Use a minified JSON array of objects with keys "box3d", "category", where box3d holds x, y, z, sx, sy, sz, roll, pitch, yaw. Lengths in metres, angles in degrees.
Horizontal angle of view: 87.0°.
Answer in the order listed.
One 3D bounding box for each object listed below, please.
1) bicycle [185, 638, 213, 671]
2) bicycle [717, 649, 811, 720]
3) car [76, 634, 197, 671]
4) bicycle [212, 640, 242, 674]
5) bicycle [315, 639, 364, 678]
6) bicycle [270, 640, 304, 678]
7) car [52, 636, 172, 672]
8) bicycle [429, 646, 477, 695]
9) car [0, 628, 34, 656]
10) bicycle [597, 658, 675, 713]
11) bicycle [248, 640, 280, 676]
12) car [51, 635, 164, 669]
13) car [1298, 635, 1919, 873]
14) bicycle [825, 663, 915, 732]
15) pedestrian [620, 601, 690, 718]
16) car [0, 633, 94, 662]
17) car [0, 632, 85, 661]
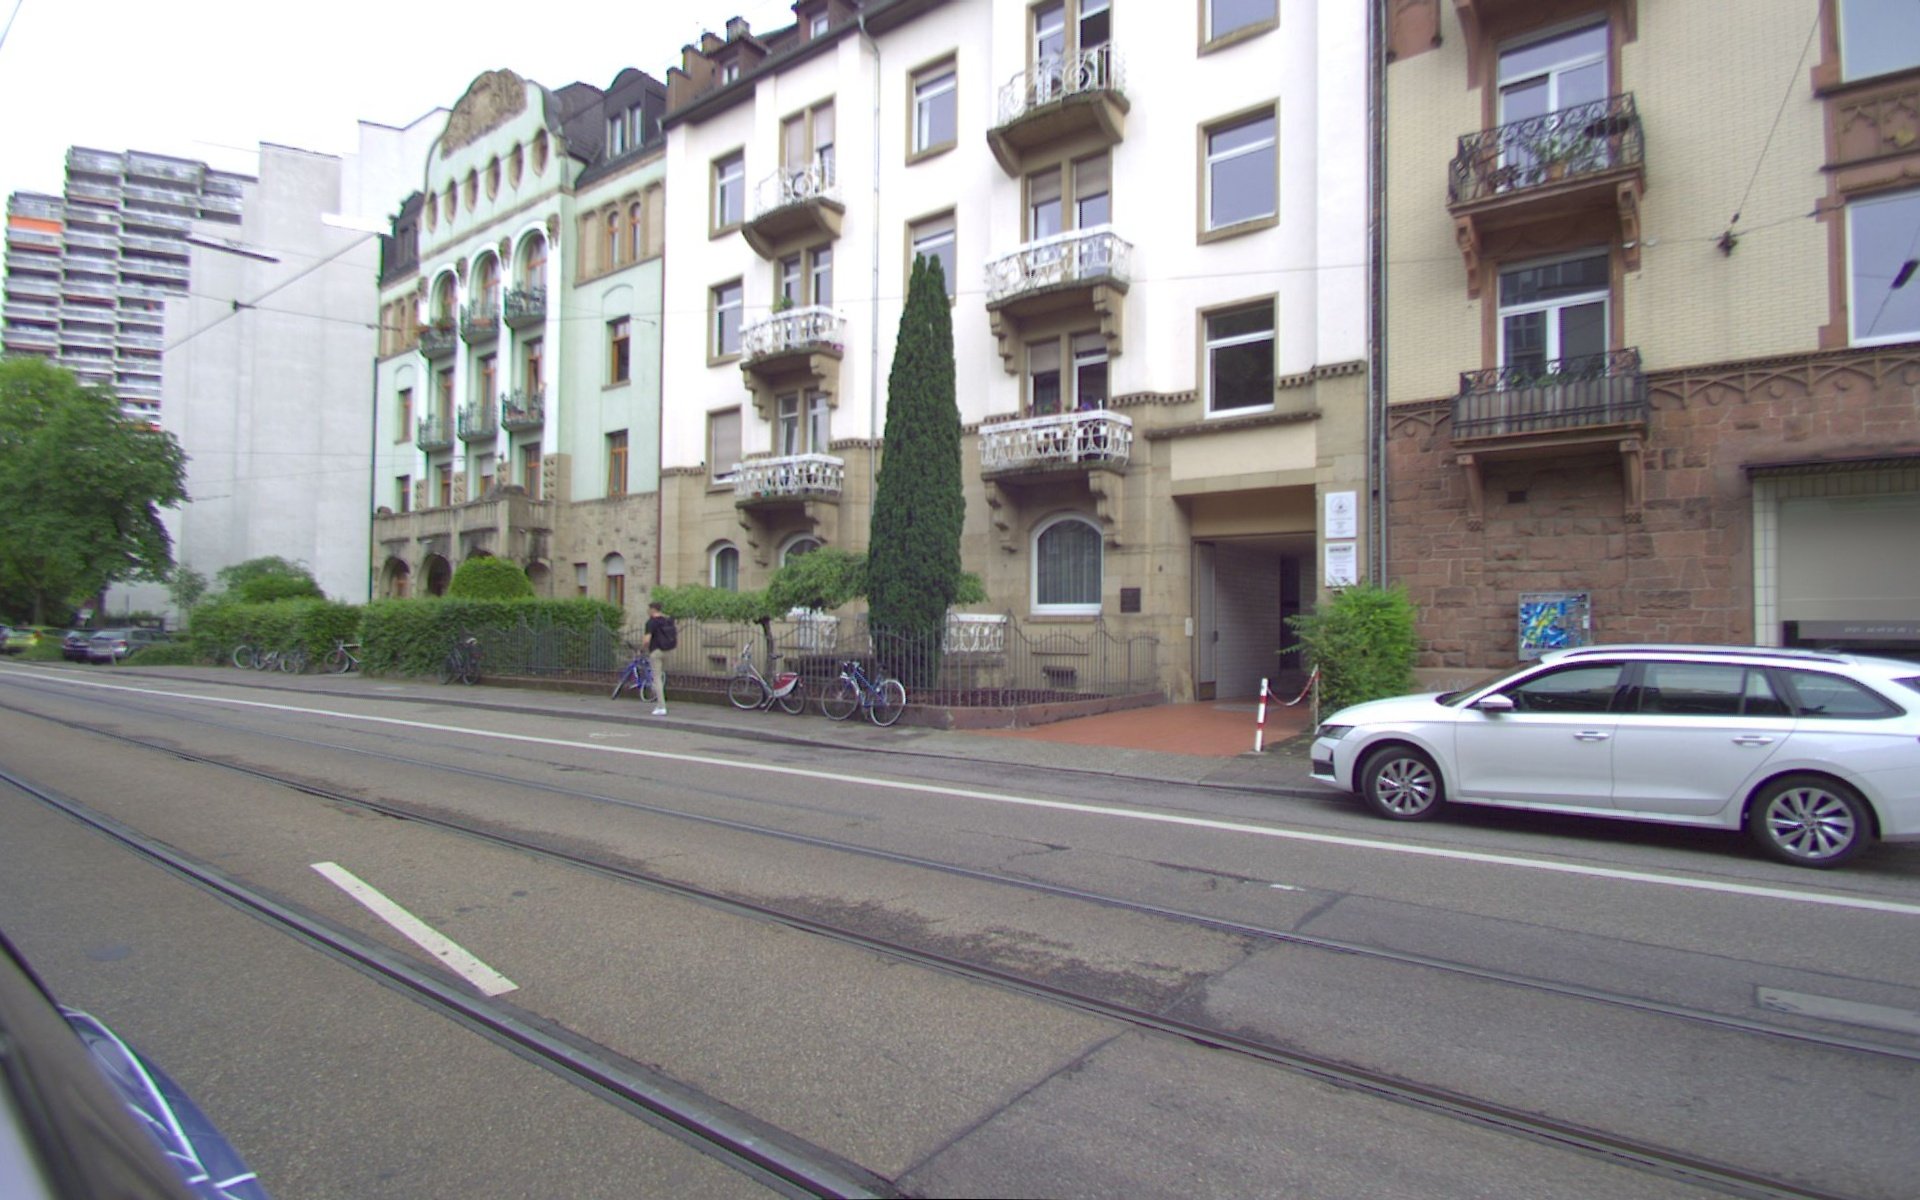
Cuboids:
[{"box3d":[-26.309,1.875,34.982,1.544,1.092,0.356,-1,-3,38],"category":"bicycle"},{"box3d":[-3.223,1.367,16.586,1.617,1.110,0.382,-1,-3,27],"category":"bicycle"},{"box3d":[-33.008,2.088,40.705,1.671,1.414,4.001,1,-2,-2],"category":"car"},{"box3d":[-24.017,1.861,33.143,1.544,1.092,0.356,-1,-3,38],"category":"bicycle"},{"box3d":[-18.204,1.707,29.718,0.300,1.091,1.190,-2,-1,40],"category":"bicycle"},{"box3d":[-19.802,1.727,29.759,1.544,1.092,0.356,-1,-3,38],"category":"bicycle"},{"box3d":[-35.337,2.225,42.315,1.671,1.414,4.001,1,-2,-2],"category":"car"},{"box3d":[-11.763,1.628,23.470,1.544,1.092,0.356,-1,-3,38],"category":"bicycle"},{"box3d":[-55.928,2.405,58.324,1.669,1.632,4.004,1,-2,-5],"category":"car"},{"box3d":[-6.124,1.597,19.109,1.660,0.935,0.354,-3,-22,41],"category":"bicycle"},{"box3d":[-21.348,1.771,31.043,1.544,1.092,0.356,-1,-3,38],"category":"bicycle"},{"box3d":[-37.516,2.257,44.666,1.671,1.414,4.001,1,-2,-2],"category":"car"},{"box3d":[5.303,1.049,8.137,4.602,1.496,1.730,-1,-3,38],"category":"car"},{"box3d":[-1.359,1.432,15.099,1.513,0.945,0.329,-1,-3,38],"category":"bicycle"},{"box3d":[-5.019,0.973,16.658,0.881,1.858,0.661,-1,-3,37],"category":"pedestrian"},{"box3d":[-45.749,2.360,50.628,1.669,1.405,4.004,1,-2,-5],"category":"car"},{"box3d":[-47.997,2.390,52.701,1.669,1.453,4.004,1,-2,-5],"category":"car"}]
